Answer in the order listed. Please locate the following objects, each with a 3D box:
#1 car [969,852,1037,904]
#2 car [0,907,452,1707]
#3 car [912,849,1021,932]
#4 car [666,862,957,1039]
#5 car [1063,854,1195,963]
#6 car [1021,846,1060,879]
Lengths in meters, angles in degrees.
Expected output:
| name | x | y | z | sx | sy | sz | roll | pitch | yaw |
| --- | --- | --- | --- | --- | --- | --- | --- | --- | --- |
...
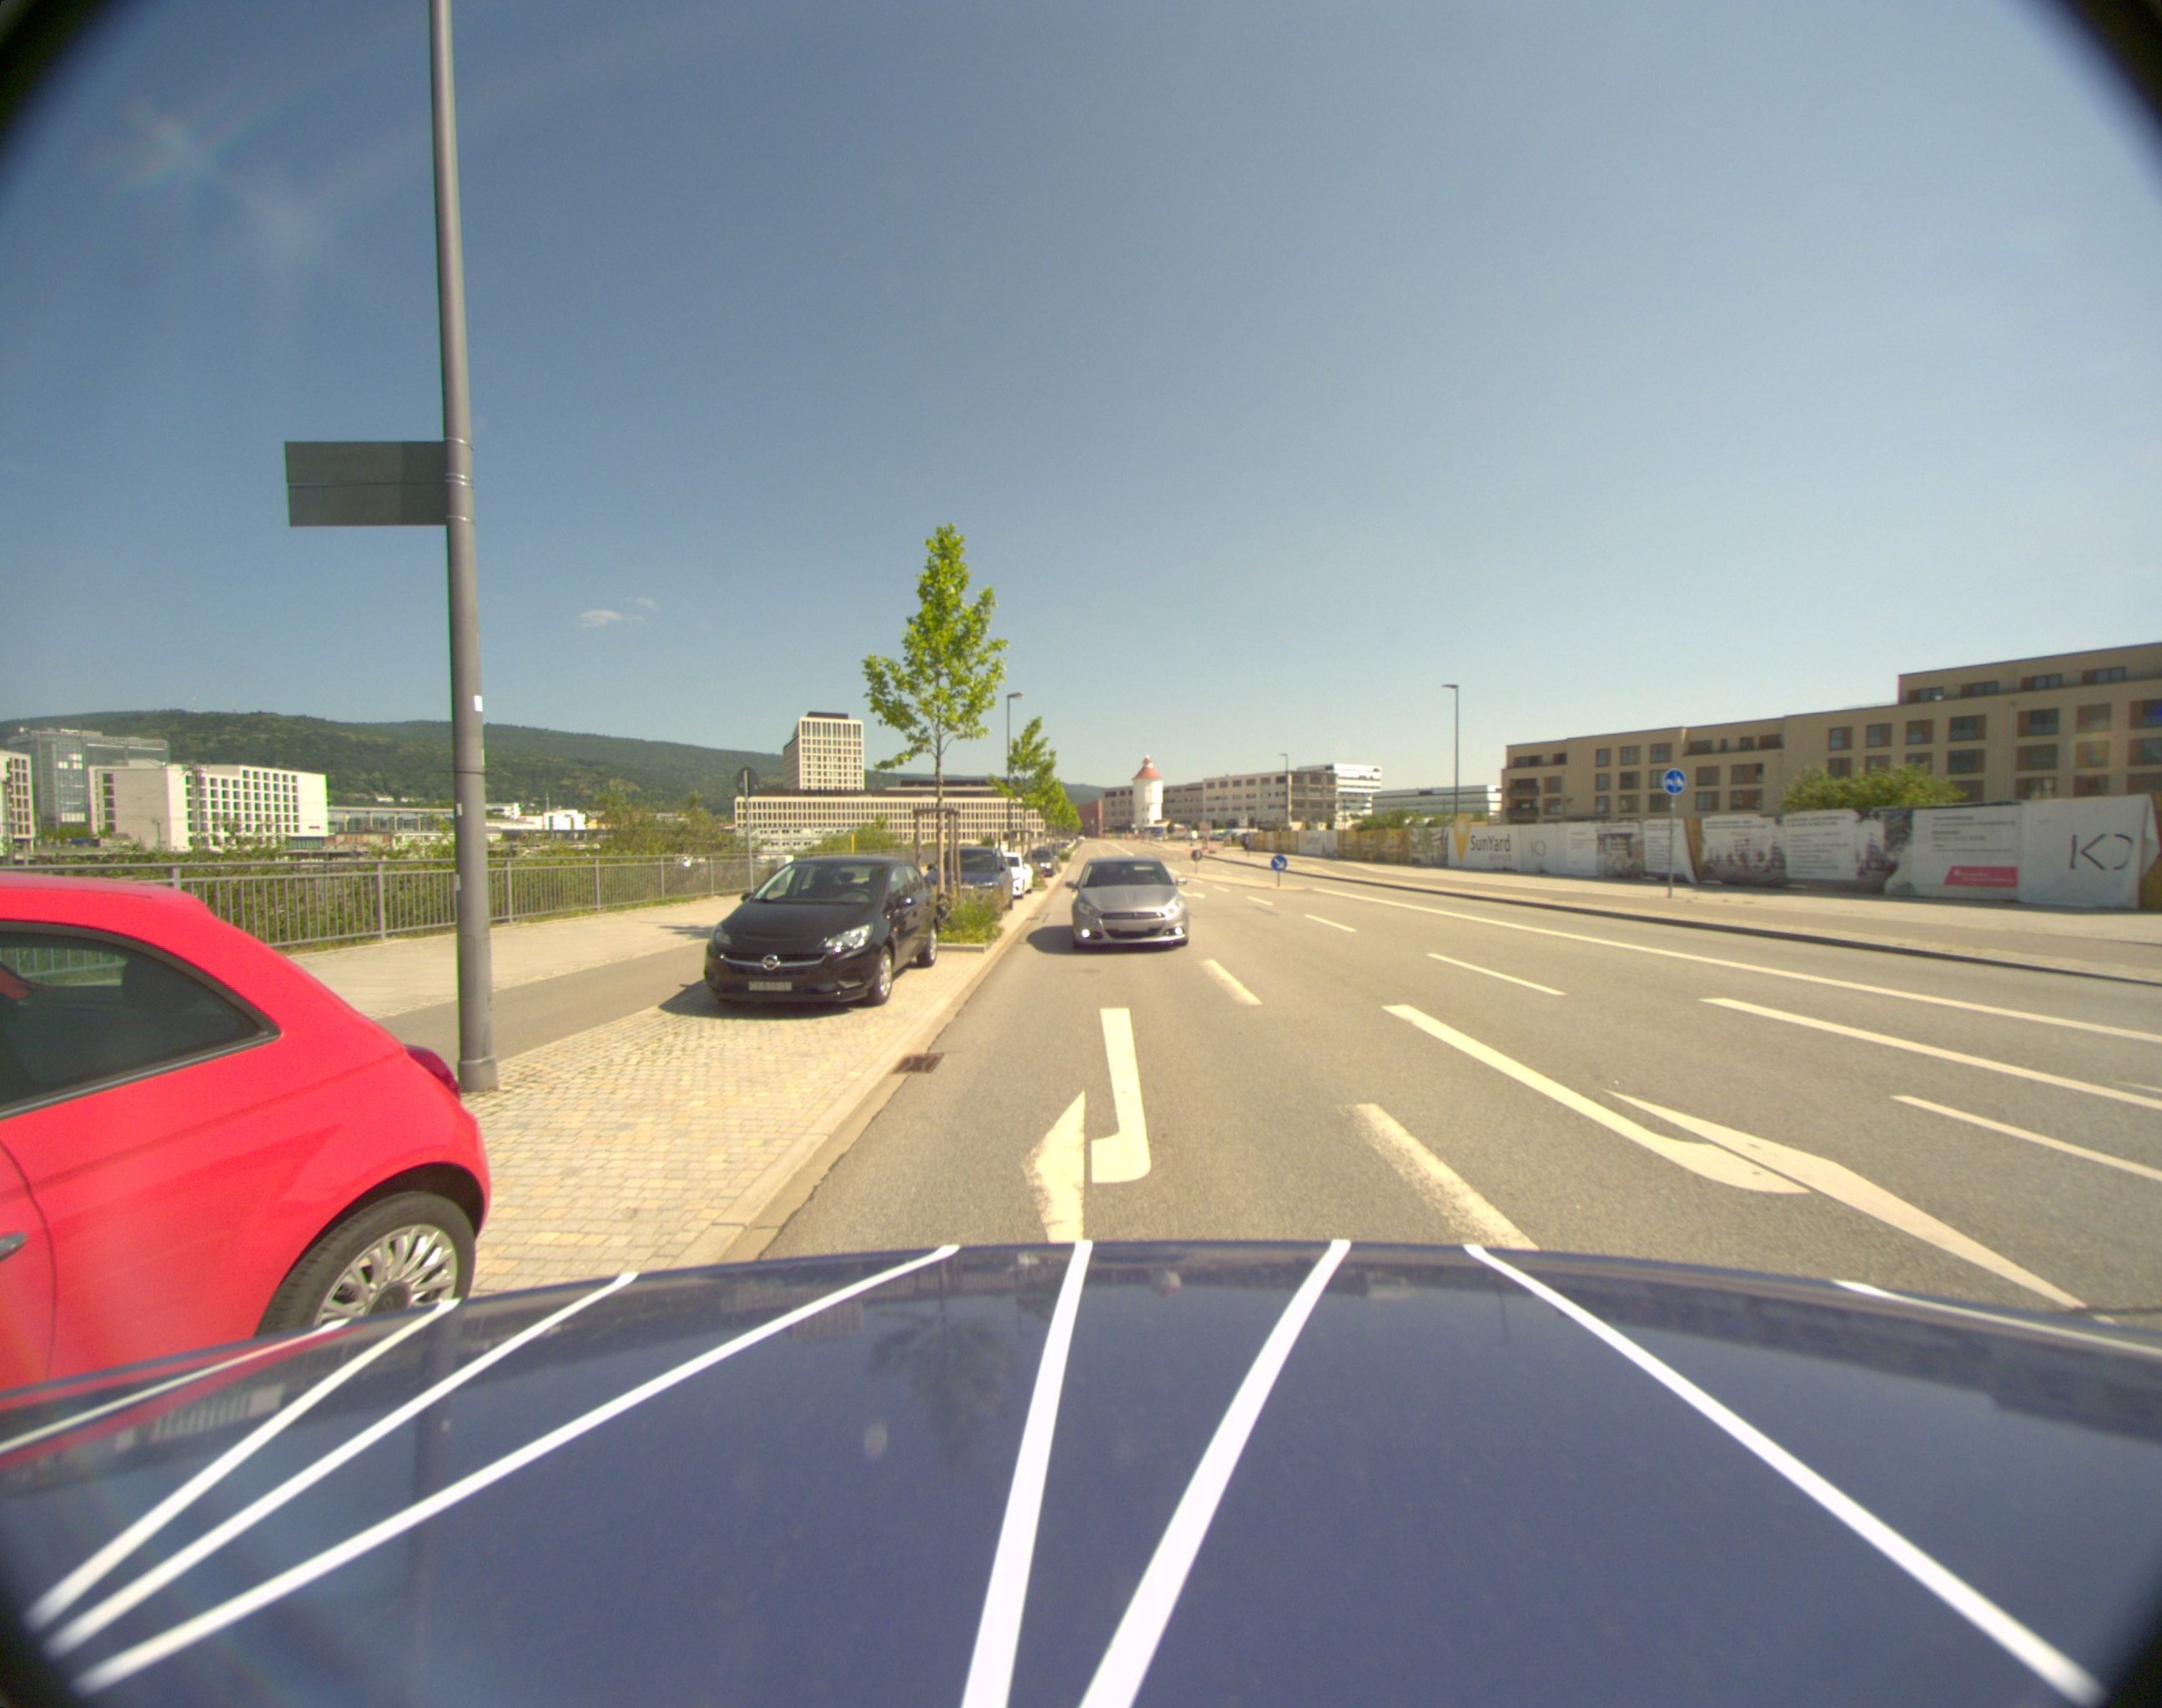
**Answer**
| name | x | y | z | sx | sy | sz | roll | pitch | yaw |
| --- | --- | --- | --- | --- | --- | --- | --- | --- | --- |
| car | -2.468 | 0.710 | 24.978 | 1.664 | 1.447 | 3.999 | -2 | 1 | 2 |
| car | -2.746 | 0.929 | 0.602 | 1.614 | 1.488 | 3.352 | 1 | 1 | 3 |
| car | -2.550 | 0.748 | 17.978 | 1.769 | 1.598 | 4.237 | -2 | 1 | 2 |
| car | -2.696 | 0.870 | 8.661 | 1.664 | 1.418 | 4.000 | 0 | 1 | 3 |
| car | 0.730 | 0.768 | 12.683 | 1.784 | 1.372 | 4.135 | -2 | 1 | 2 |
| car | -2.114 | 0.415 | 40.586 | 1.664 | 1.530 | 3.999 | -2 | 1 | 2 |
